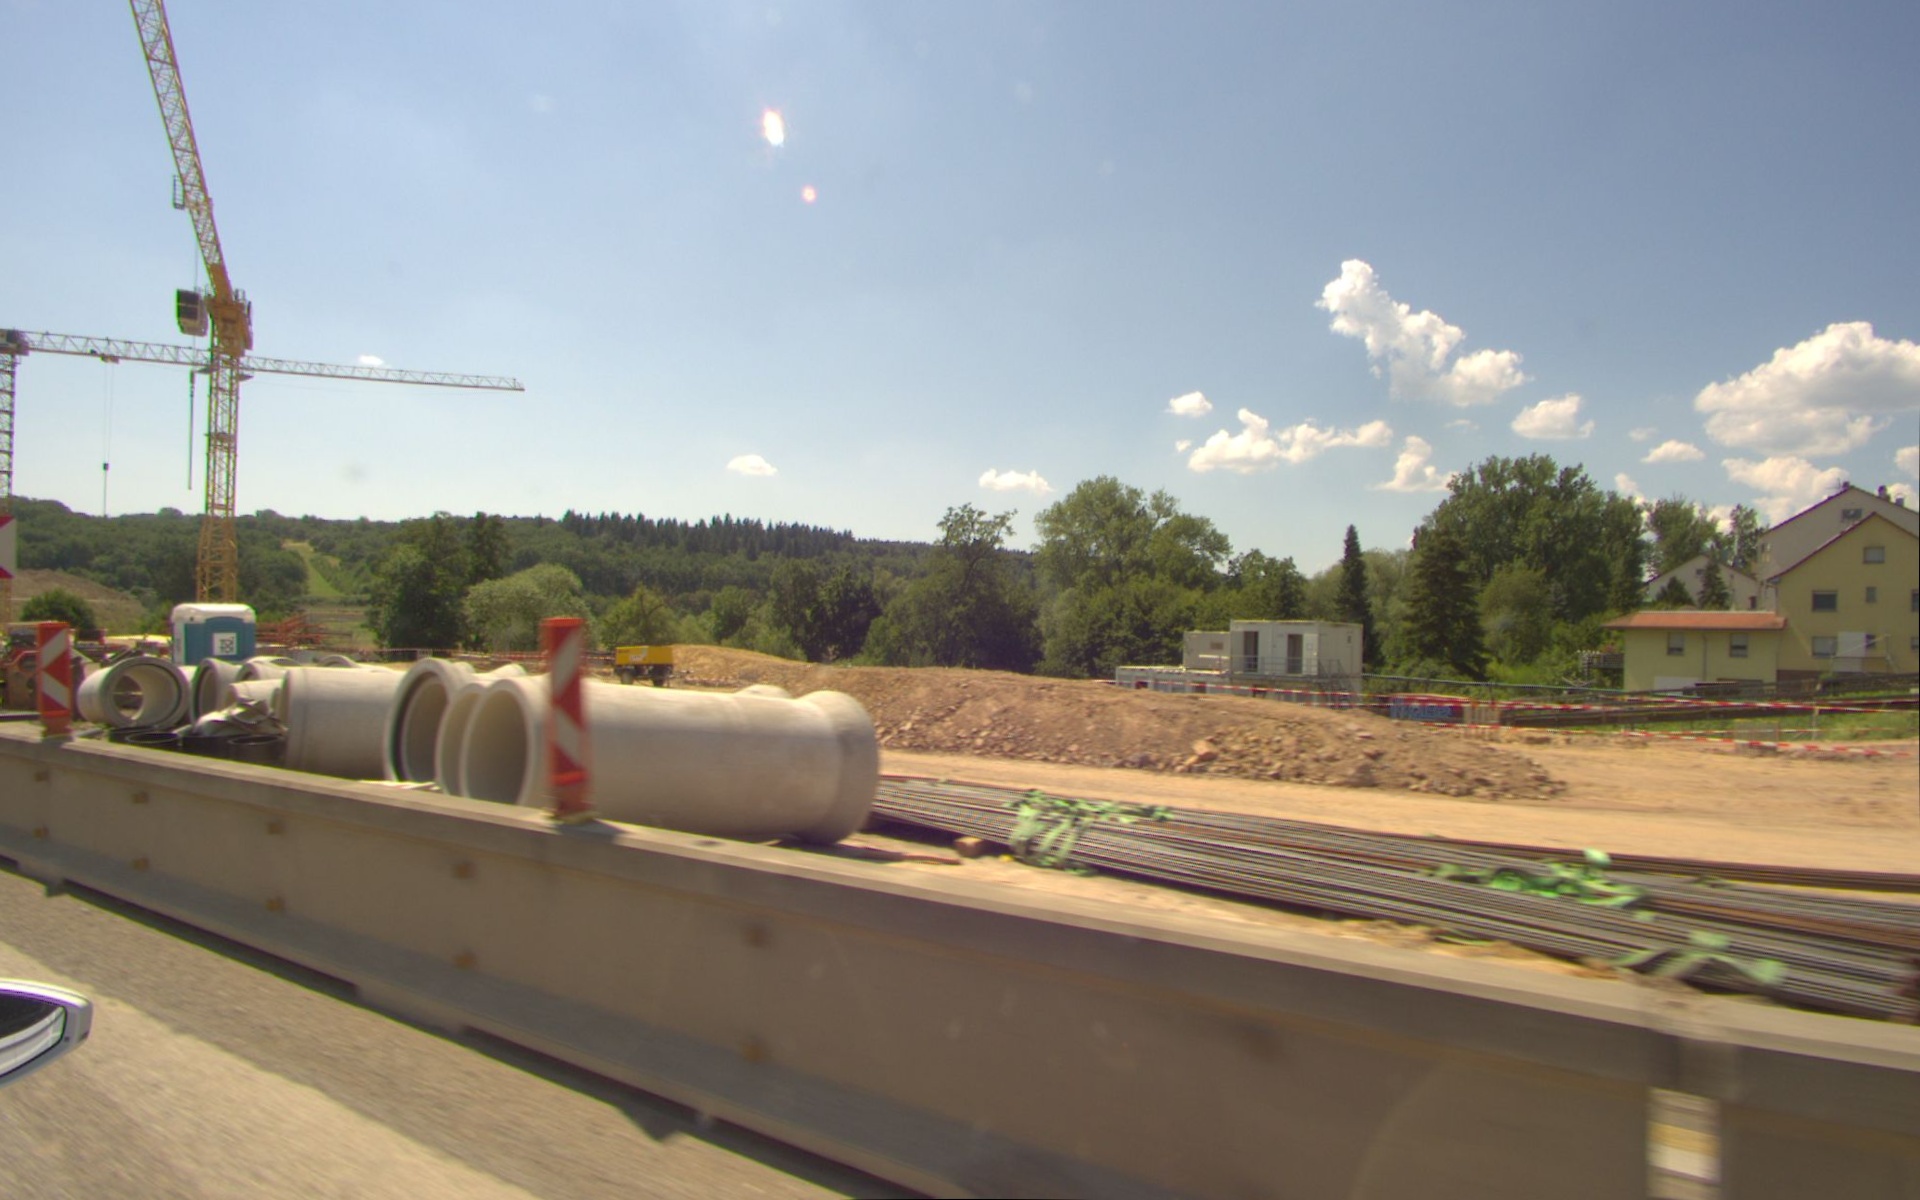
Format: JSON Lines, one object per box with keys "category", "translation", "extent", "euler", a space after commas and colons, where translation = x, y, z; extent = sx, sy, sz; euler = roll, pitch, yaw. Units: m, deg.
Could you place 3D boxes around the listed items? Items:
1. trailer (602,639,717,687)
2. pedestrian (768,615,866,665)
{"category": "trailer", "translation": [-10.038, 2.070, 33.341], "extent": [3.773, 1.504, 1.621], "euler": [-1, -3, 33]}
{"category": "pedestrian", "translation": [-6.250, 1.758, 43.700], "extent": [3.949, 2.038, 1.988], "euler": [-3, -3, 36]}
